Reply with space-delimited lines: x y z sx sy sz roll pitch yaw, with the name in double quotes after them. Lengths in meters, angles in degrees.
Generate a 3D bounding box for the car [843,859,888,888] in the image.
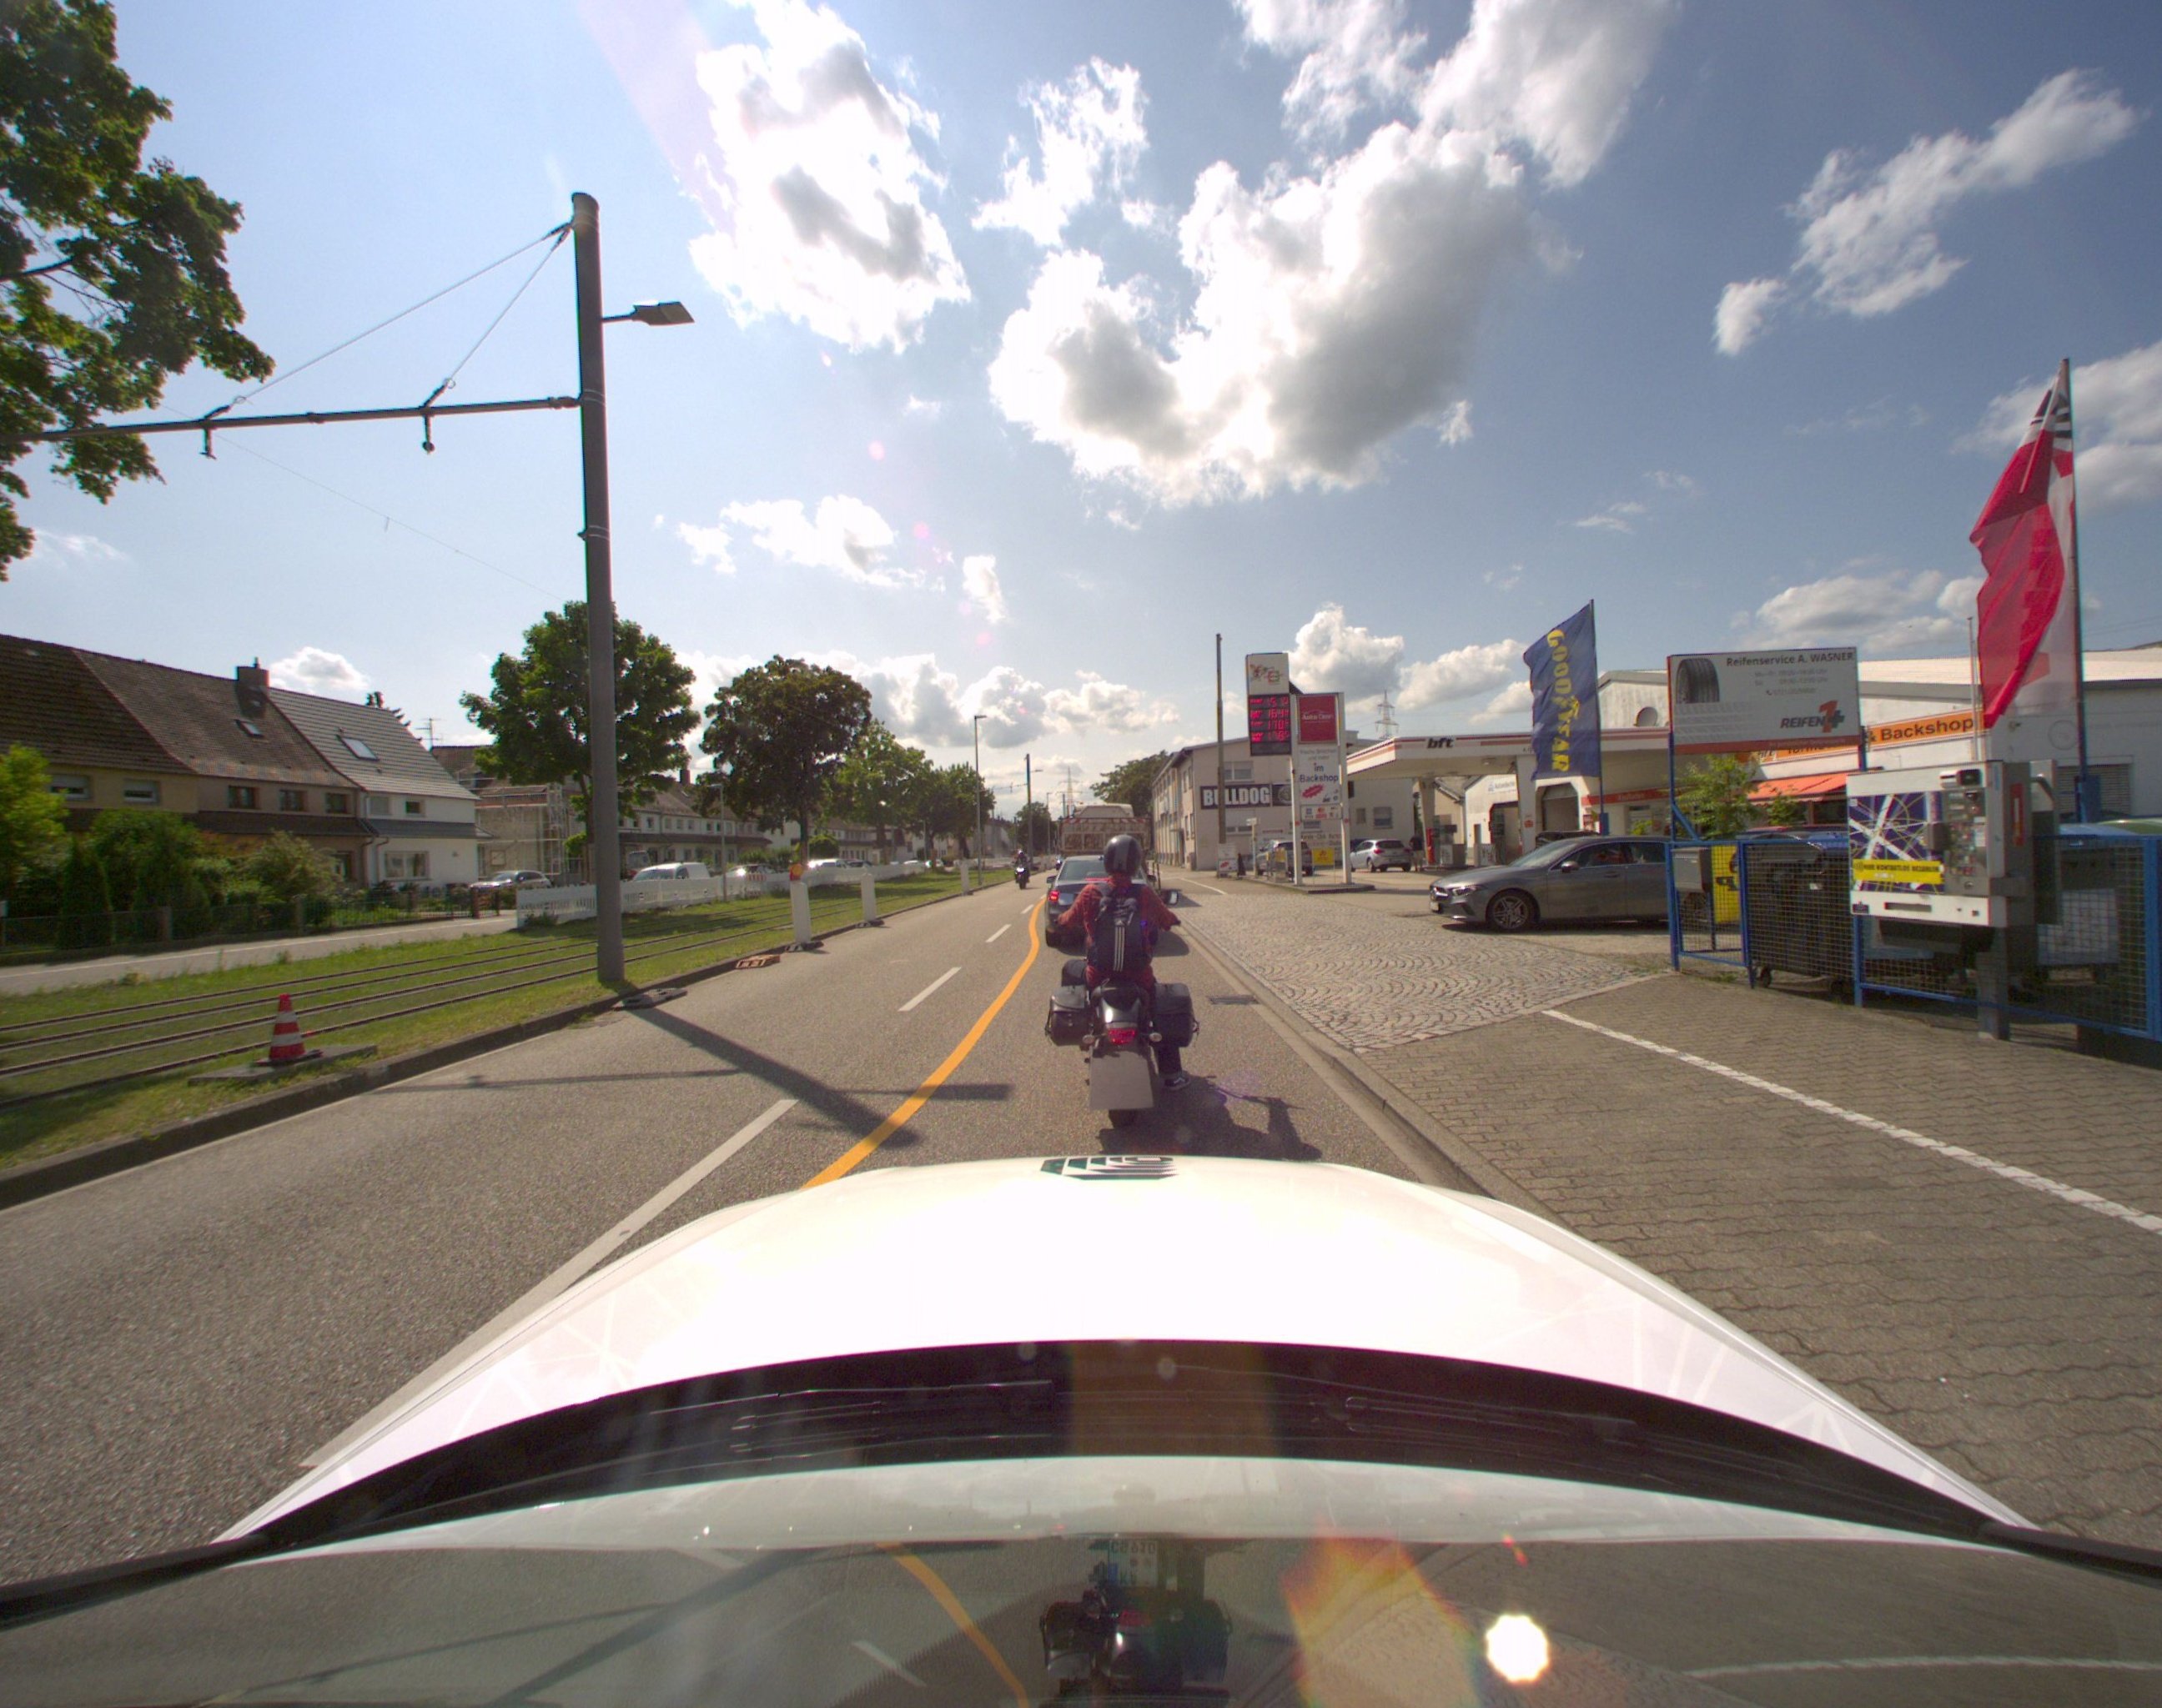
-14.801 1.336 56.048 1.769 1.805 4.130 -2 0 2 "car"

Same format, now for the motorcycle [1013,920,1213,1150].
0.206 1.027 5.454 0.975 0.897 2.654 -2 0 2 "motorcycle"

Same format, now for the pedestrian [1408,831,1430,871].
14.654 -0.130 35.327 0.701 1.656 0.551 -2 0 37 "pedestrian"

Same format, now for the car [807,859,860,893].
-15.063 1.328 49.823 1.769 1.867 4.130 -2 0 2 "car"

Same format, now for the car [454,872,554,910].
-27.434 1.727 38.904 1.769 1.519 4.002 -2 0 2 "car"

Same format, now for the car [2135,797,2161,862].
26.528 -0.635 18.010 4.180 1.463 1.587 -2 0 2 "car"

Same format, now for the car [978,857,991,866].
-19.090 1.526 161.364 1.769 1.722 4.252 -2 0 2 "car"

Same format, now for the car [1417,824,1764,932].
7.704 0.360 12.702 4.247 1.415 1.678 -2 0 9 "car"

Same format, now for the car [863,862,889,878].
-24.385 1.837 97.052 1.769 1.722 4.130 -2 0 2 "car"

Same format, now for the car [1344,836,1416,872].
13.479 -0.007 36.928 1.800 1.503 3.832 -2 0 -1 "car"

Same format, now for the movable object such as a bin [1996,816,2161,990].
9.488 0.376 7.139 1.397 1.396 1.338 -2 0 1 "movable object such as a bin"

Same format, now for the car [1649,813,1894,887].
15.776 -0.087 18.766 4.180 1.463 1.587 -2 0 2 "car"

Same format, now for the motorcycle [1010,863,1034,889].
-2.552 0.956 35.382 0.866 1.021 2.244 -2 0 -1 "motorcycle"

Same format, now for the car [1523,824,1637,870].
18.122 -0.246 29.793 1.800 1.503 3.833 -2 0 0 "car"

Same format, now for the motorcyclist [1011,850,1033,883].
-2.566 0.530 35.508 0.866 1.378 0.800 -2 0 -1 "motorcyclist"

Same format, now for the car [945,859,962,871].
-19.629 1.632 125.927 1.769 1.722 4.130 -2 0 2 "car"

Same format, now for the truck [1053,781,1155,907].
0.750 -0.289 26.140 2.628 3.296 8.059 -2 0 2 "truck"

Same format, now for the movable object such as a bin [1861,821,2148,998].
8.085 0.447 7.227 1.104 1.396 1.244 -2 0 1 "movable object such as a bin"

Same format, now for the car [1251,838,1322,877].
9.119 0.151 36.462 1.665 1.562 4.235 -2 0 -6 "car"

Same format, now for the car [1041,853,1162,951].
0.369 0.719 14.234 1.816 1.452 4.002 0 0 2 "car"

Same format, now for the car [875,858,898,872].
-25.156 1.400 105.213 1.769 1.722 4.130 -2 0 2 "car"

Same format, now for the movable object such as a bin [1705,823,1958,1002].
6.691 0.480 7.368 1.104 1.436 1.244 -2 0 1 "movable object such as a bin"

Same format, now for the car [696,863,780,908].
-15.405 1.384 36.808 1.769 1.774 4.230 -2 0 2 "car"

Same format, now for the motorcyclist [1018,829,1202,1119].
0.181 0.678 5.150 0.975 1.602 1.088 -2 0 1 "motorcyclist"

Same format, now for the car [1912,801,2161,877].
21.524 -0.338 18.174 4.180 1.463 1.587 -2 0 2 "car"

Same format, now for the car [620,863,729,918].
-15.405 1.315 31.164 1.769 1.821 4.366 -2 0 2 "car"

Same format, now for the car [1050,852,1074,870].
-1.714 0.618 73.608 1.816 1.452 4.326 -3 0 2 "car"

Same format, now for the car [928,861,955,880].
-13.727 1.631 80.409 1.769 1.722 4.130 -2 0 2 "car"
